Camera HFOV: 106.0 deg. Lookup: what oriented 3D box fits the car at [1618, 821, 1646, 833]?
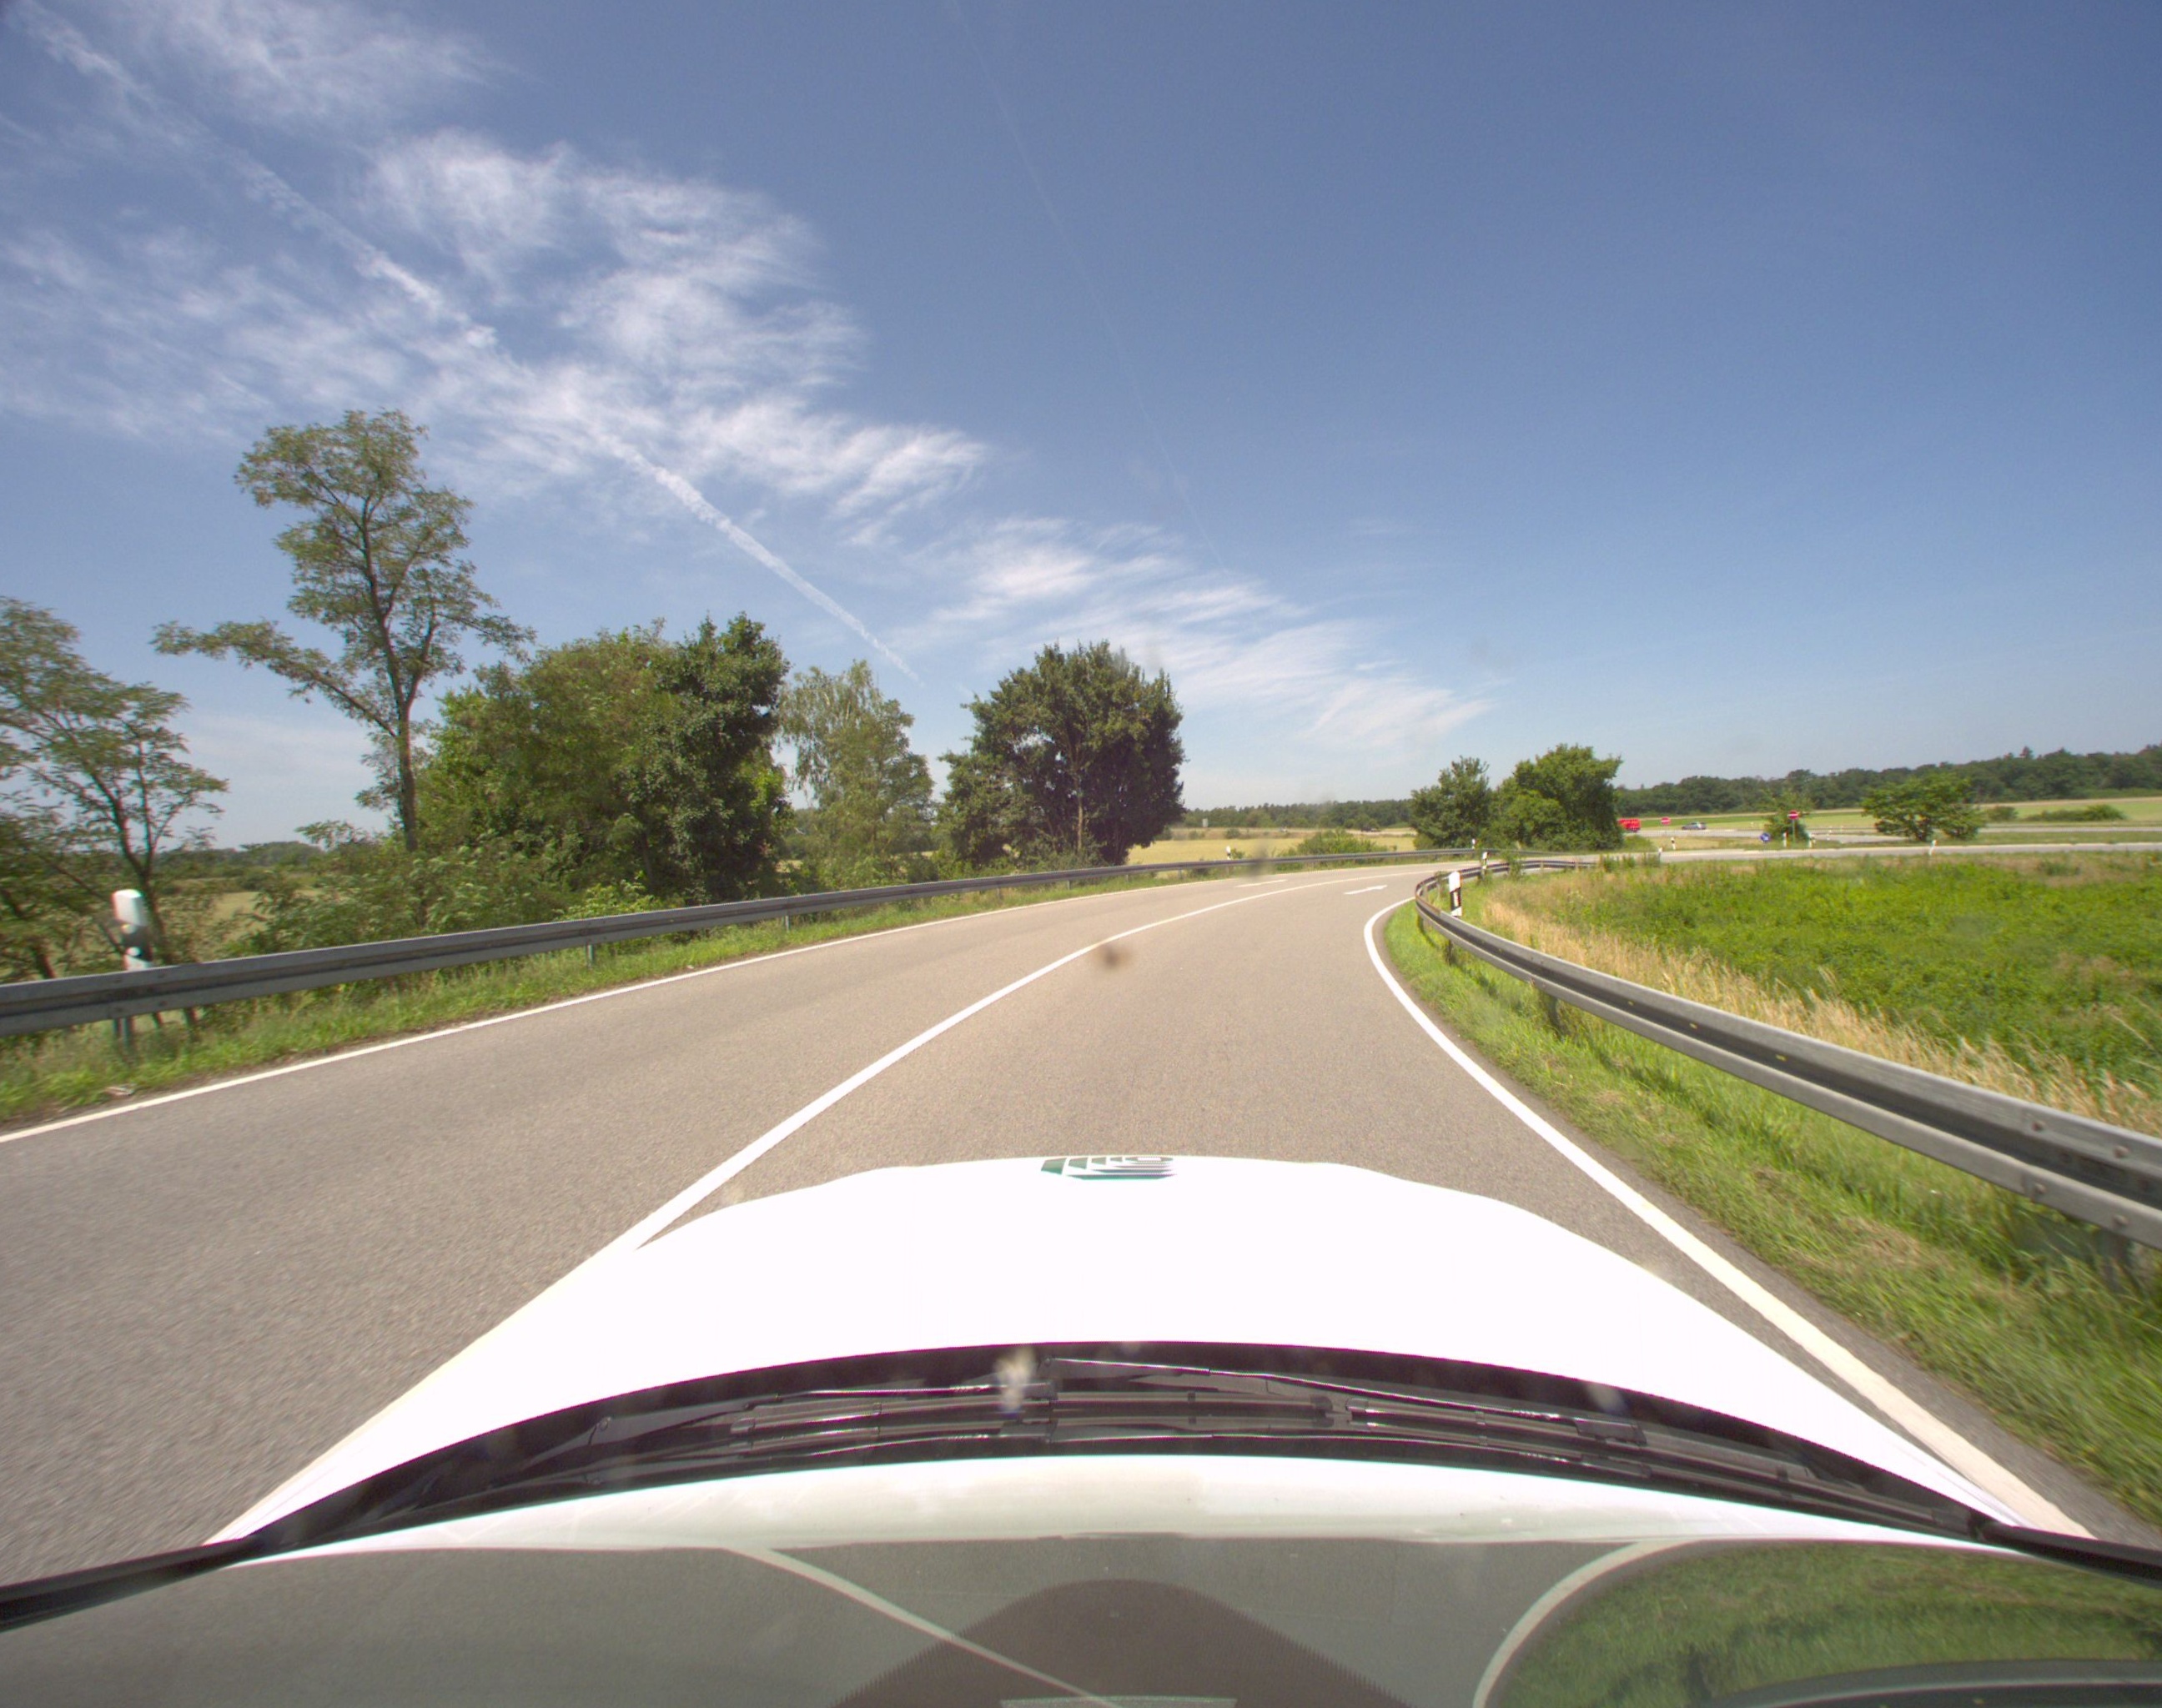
[{"bbox_3d":[103.356,-5.058,152.846,2.009,2.014,4.236,-1,-1,-6],"label":"car"}]
